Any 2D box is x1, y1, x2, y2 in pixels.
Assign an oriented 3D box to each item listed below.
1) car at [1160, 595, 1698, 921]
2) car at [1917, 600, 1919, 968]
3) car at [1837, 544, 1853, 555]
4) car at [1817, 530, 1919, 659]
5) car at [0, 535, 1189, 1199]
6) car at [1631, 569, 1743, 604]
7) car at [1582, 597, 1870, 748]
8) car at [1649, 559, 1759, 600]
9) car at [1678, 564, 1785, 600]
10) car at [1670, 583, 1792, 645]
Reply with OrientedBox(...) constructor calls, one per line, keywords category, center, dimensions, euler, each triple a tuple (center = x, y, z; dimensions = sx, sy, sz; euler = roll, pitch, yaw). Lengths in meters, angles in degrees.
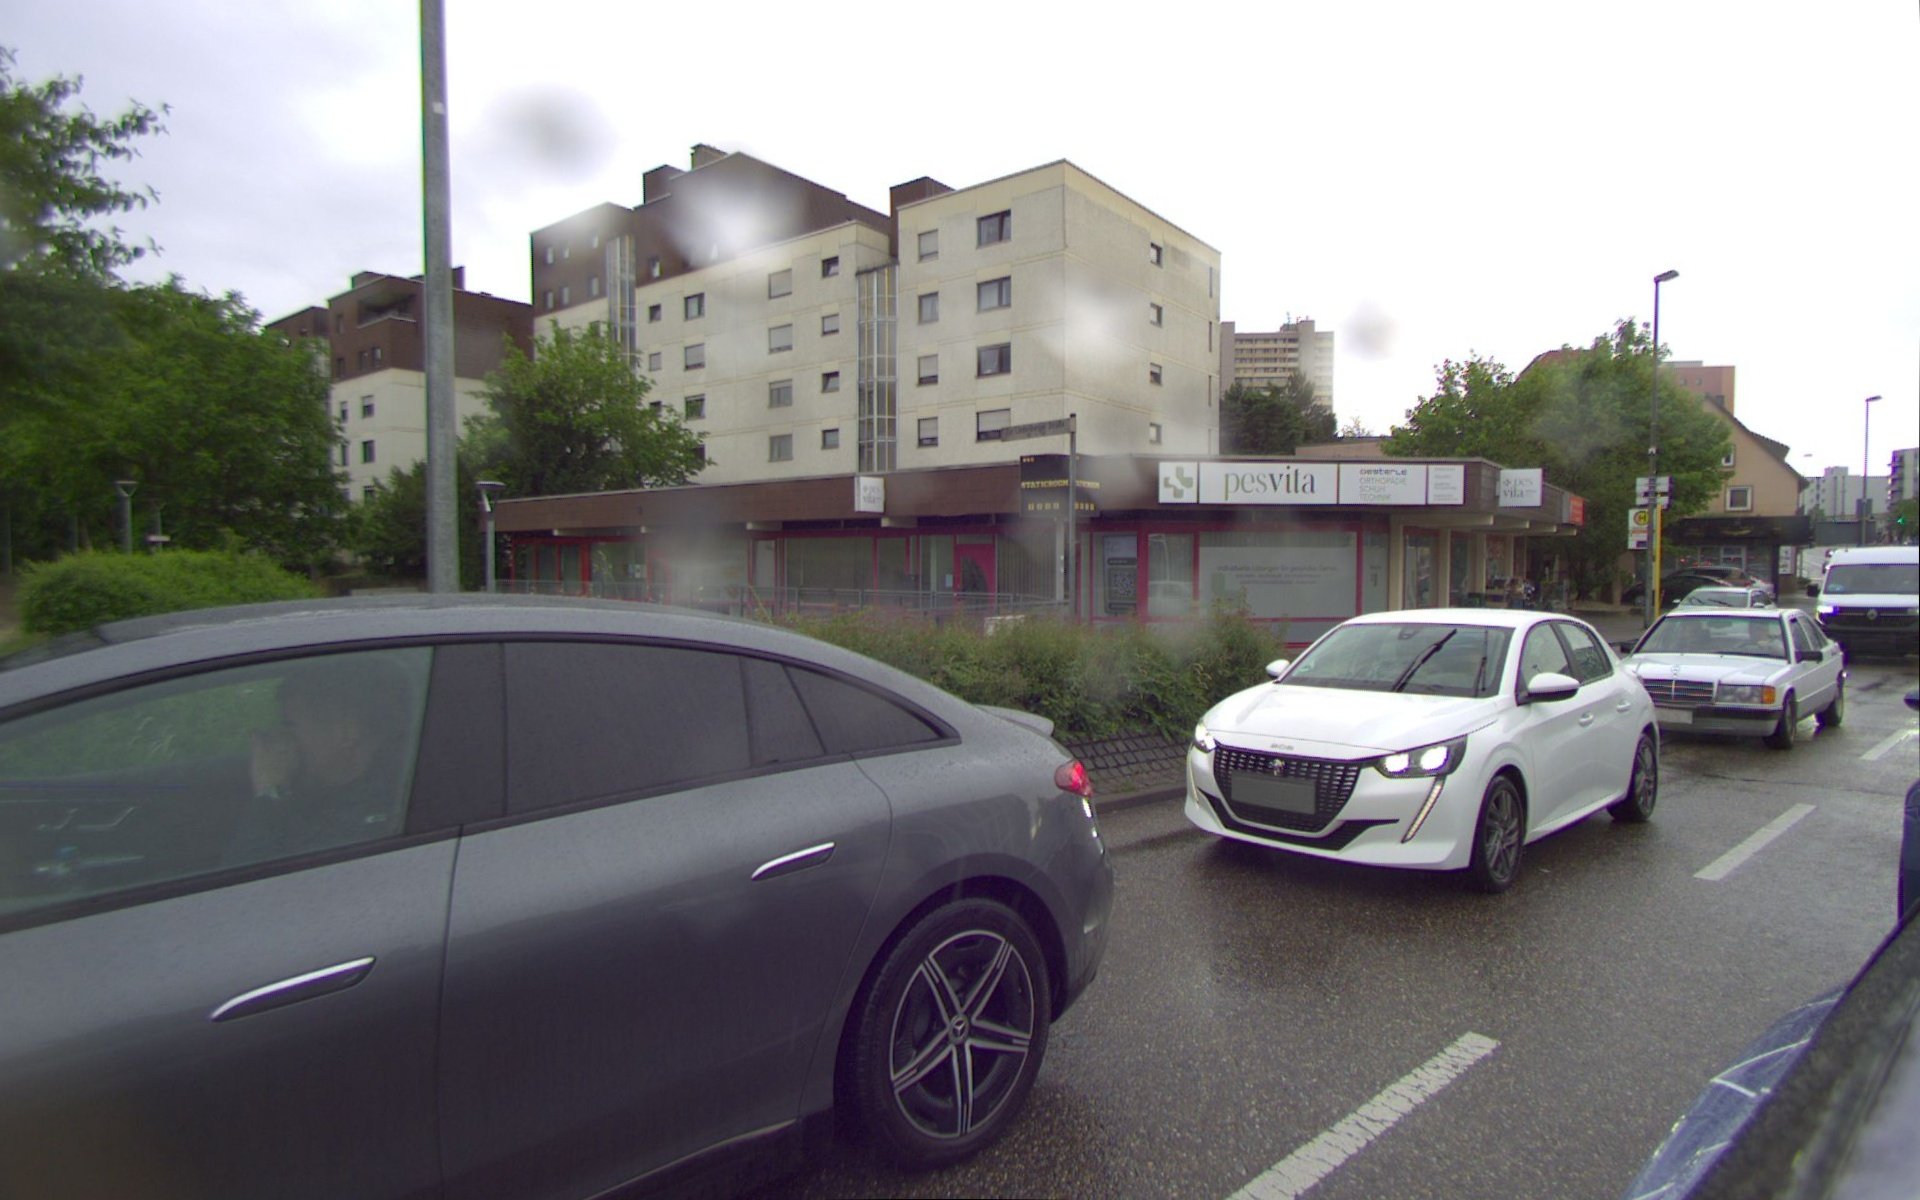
OrientedBox(category="car", center=(3.219, 0.709, 6.548), dimensions=(4.043, 1.433, 1.665), euler=(-1, 1, -41))
OrientedBox(category="car", center=(5.667, 0.696, 4.598), dimensions=(3.933, 1.406, 1.690), euler=(-1, 1, -43))
OrientedBox(category="car", center=(139.654, -8.005, 159.660), dimensions=(1.657, 1.654, 3.754), euler=(1, 1, 37))
OrientedBox(category="car", center=(20.867, -0.179, 22.448), dimensions=(6.021, 2.549, 2.194), euler=(-2, 2, -43))
OrientedBox(category="car", center=(-1.621, 0.657, 2.433), dimensions=(4.724, 1.485, 1.840), euler=(0, -1, -41))
OrientedBox(category="car", center=(32.311, -0.620, 45.020), dimensions=(3.981, 1.445, 1.858), euler=(2, 2, 39))
OrientedBox(category="car", center=(8.770, 0.672, 11.469), dimensions=(4.089, 1.362, 1.787), euler=(-1, 1, -41))
OrientedBox(category="car", center=(34.208, -0.969, 46.557), dimensions=(3.981, 1.801, 1.858), euler=(2, 2, 39))
OrientedBox(category="car", center=(36.919, -0.867, 48.477), dimensions=(3.981, 1.614, 1.857), euler=(2, 0, 39))
OrientedBox(category="car", center=(20.308, 0.302, 26.619), dimensions=(3.930, 1.509, 1.787), euler=(-1, 1, -41))
